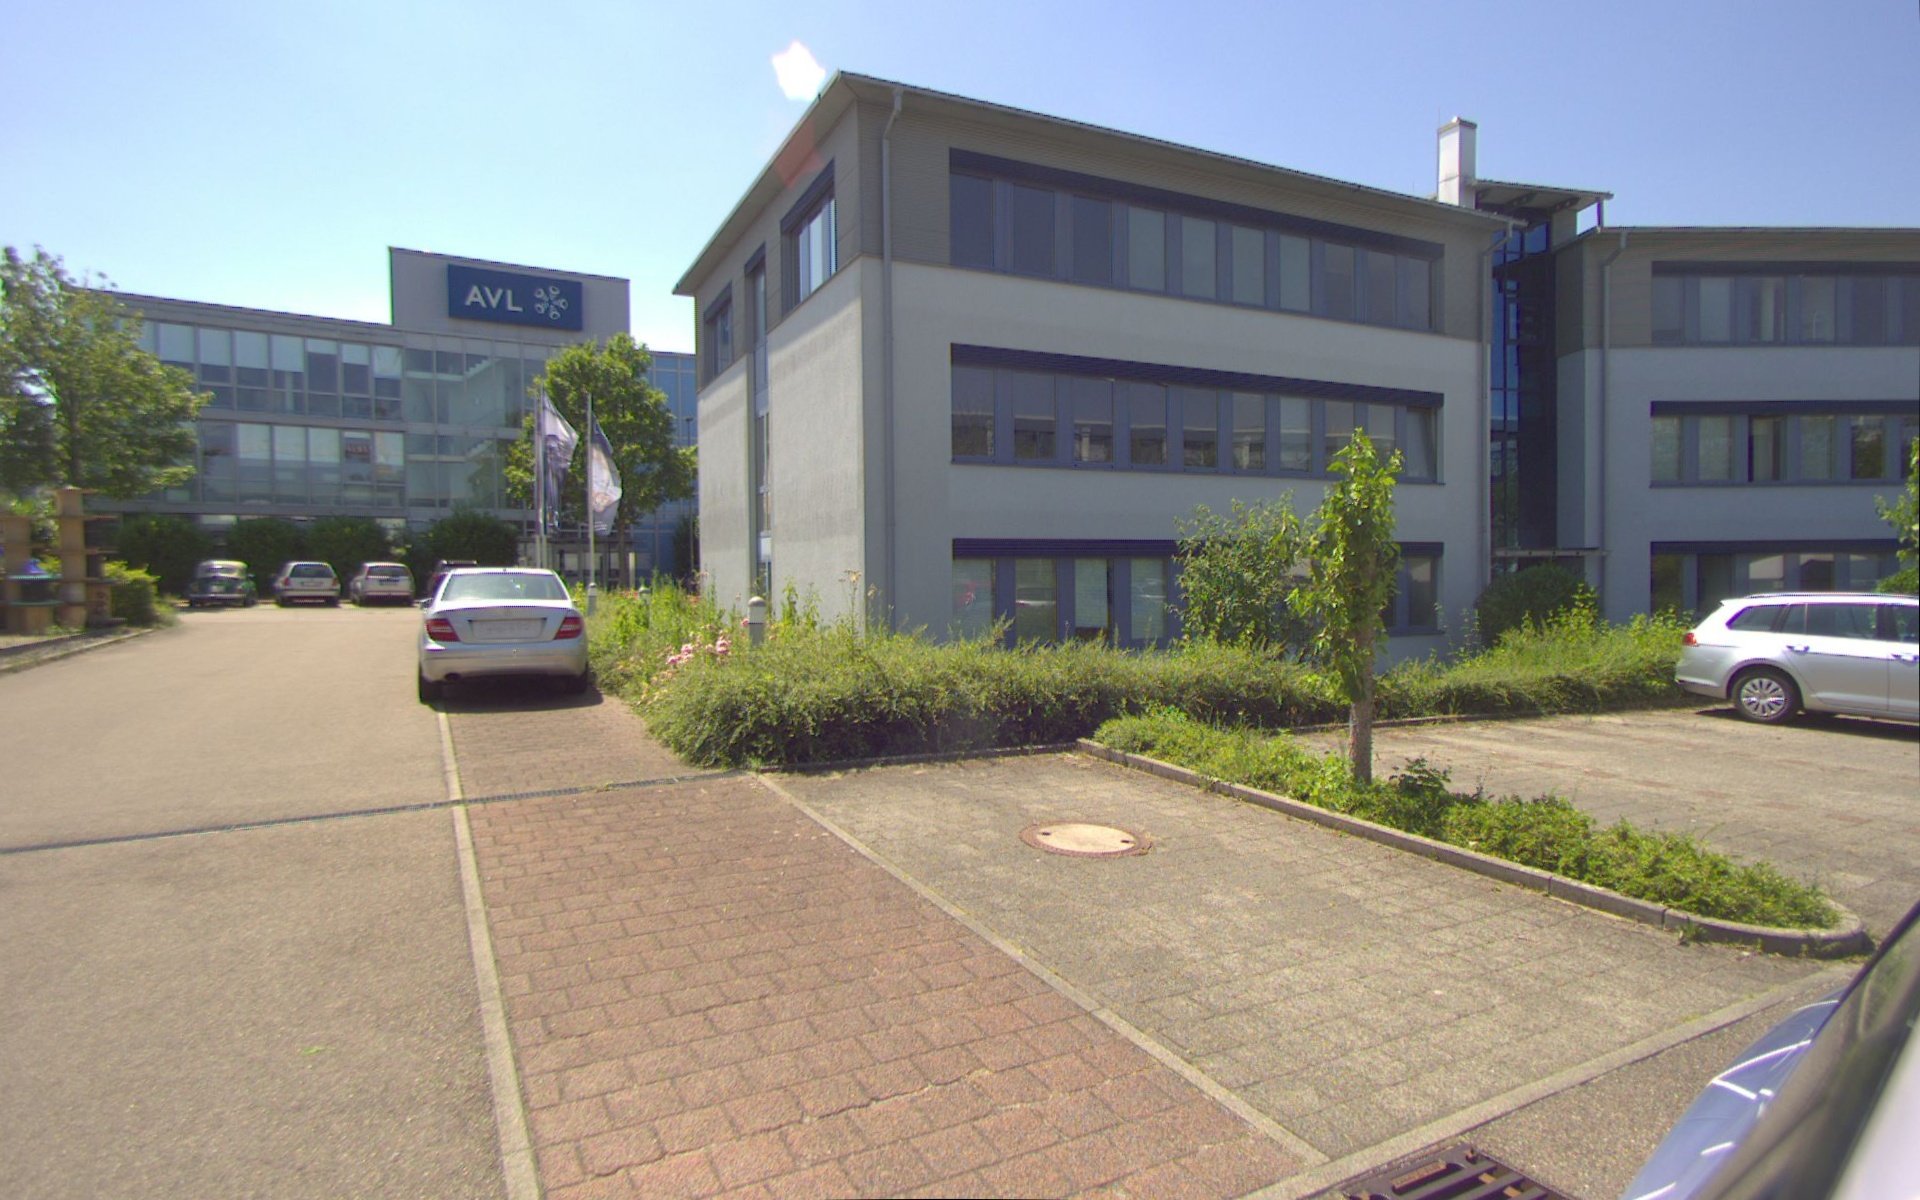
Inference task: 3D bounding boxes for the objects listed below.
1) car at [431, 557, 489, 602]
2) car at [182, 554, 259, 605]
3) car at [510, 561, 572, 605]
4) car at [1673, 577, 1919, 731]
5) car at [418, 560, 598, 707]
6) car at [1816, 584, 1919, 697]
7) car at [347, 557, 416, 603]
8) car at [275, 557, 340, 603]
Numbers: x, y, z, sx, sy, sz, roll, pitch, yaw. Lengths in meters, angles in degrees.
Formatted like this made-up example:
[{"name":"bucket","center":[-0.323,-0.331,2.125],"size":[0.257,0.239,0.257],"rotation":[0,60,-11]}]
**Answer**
[{"name":"car","center":[-18.181,-0.725,36.728],"size":[1.714,1.538,4.005],"rotation":[0,1,-29]},{"name":"car","center":[-23.924,-0.660,32.862],"size":[1.715,1.538,4.003],"rotation":[0,1,-32]},{"name":"car","center":[-15.719,-0.640,37.863],"size":[1.714,1.538,4.005],"rotation":[0,1,-29]},{"name":"car","center":[10.419,0.554,10.569],"size":[1.793,1.515,4.526],"rotation":[0,2,-30]},{"name":"car","center":[-5.486,0.300,12.071],"size":[1.695,1.454,3.722],"rotation":[0,1,-28]},{"name":"car","center":[13.308,0.557,12.508],"size":[1.619,1.409,3.832],"rotation":[0,2,-30]},{"name":"car","center":[-20.522,-0.695,35.847],"size":[1.717,1.538,3.999],"rotation":[0,1,-36]},{"name":"car","center":[-22.118,-0.654,34.232],"size":[1.643,1.458,3.999],"rotation":[0,1,-36]}]
